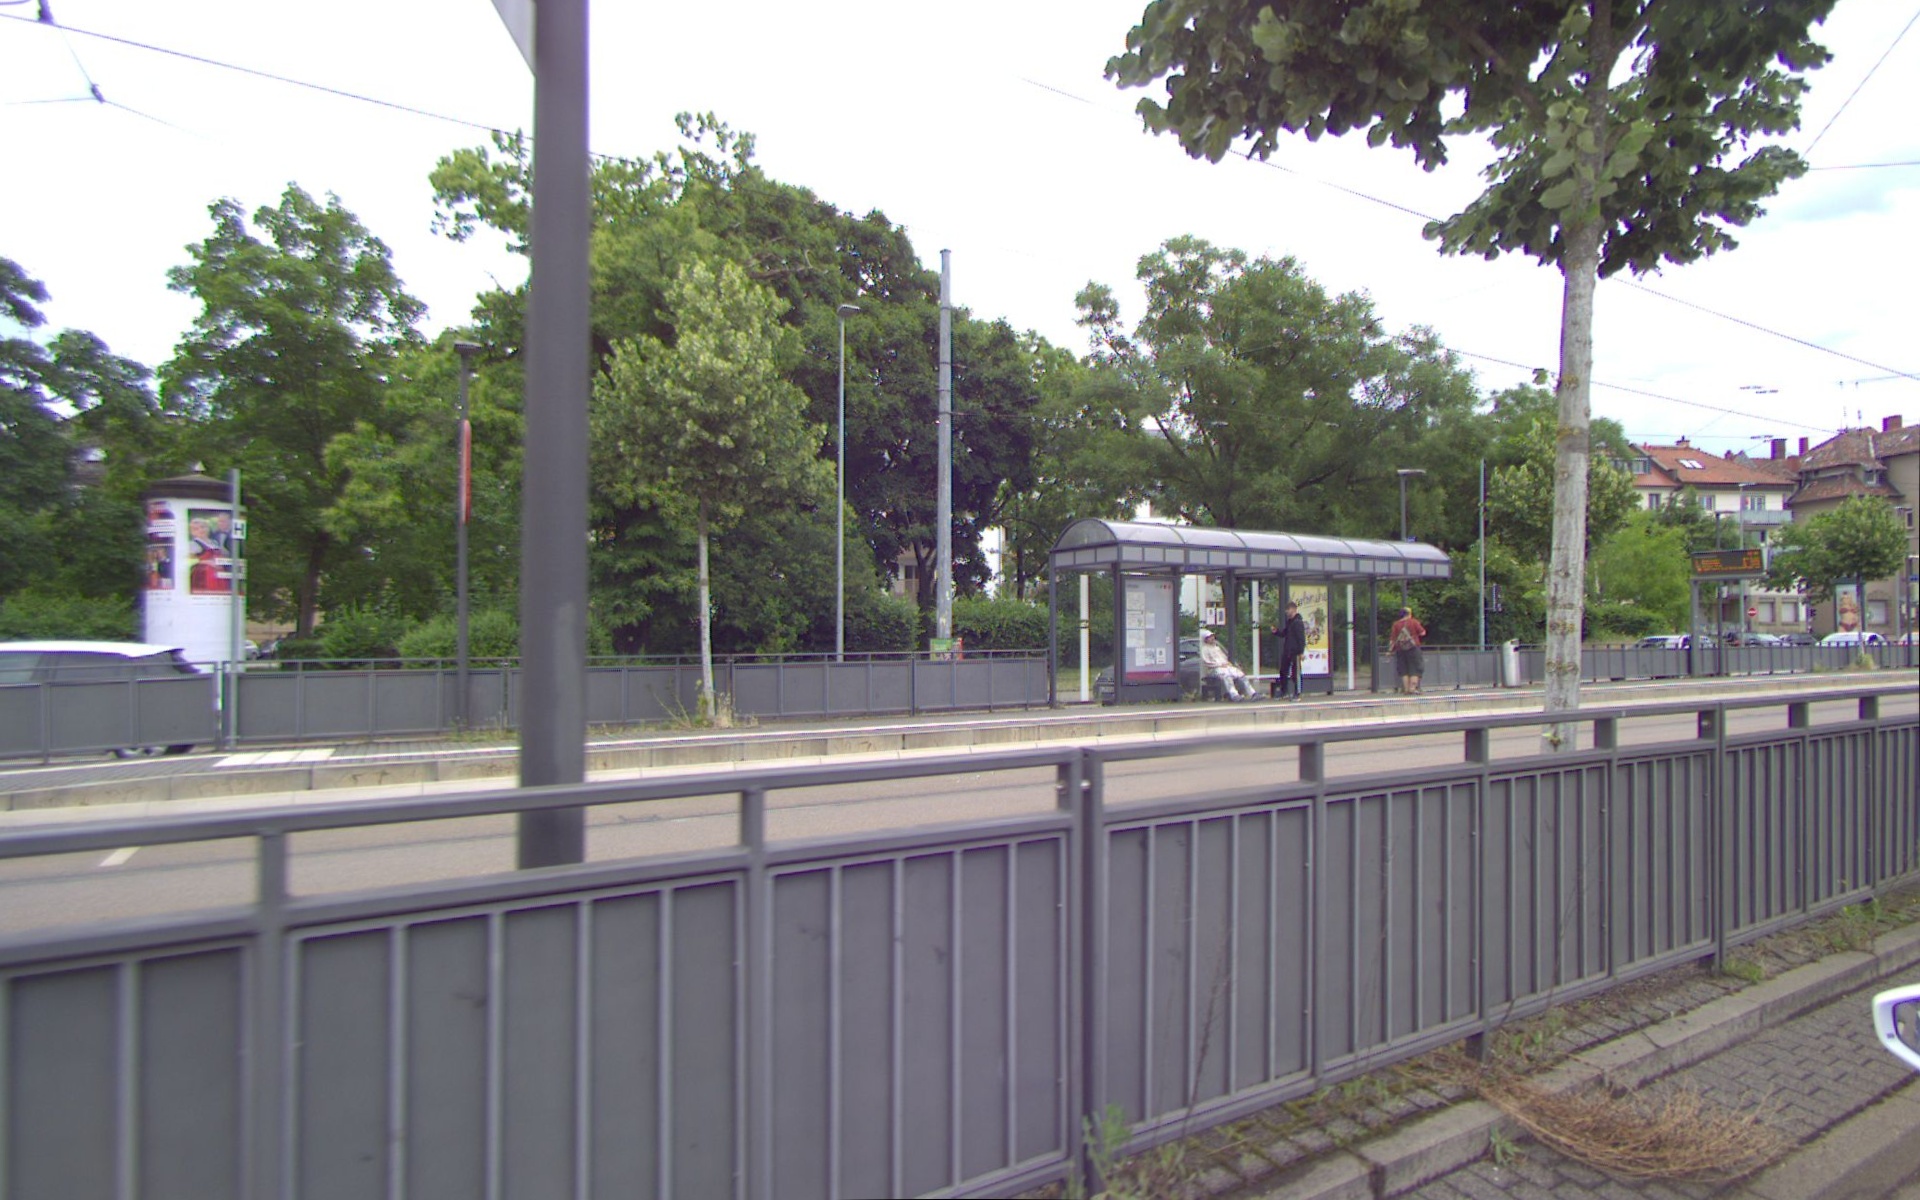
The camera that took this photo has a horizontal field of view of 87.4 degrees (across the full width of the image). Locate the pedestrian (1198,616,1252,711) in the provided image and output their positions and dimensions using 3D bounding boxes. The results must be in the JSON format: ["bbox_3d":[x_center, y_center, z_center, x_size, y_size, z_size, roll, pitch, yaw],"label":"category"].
[{"bbox_3d":[4.711,1.117,17.889,0.673,1.645,0.628,1,-2,-32],"label":"pedestrian"}]

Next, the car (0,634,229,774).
[{"bbox_3d":[-10.981,1.158,11.656,3.841,1.512,1.762,1,-2,-31],"label":"car"}]

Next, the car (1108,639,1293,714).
[{"bbox_3d":[5.327,1.617,22.146,3.841,1.512,1.762,1,-2,-31],"label":"car"}]

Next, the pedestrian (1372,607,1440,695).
[{"bbox_3d":[8.788,0.990,19.799,1.014,1.682,0.764,1,-2,-33],"label":"pedestrian"}]

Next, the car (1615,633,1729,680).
[{"bbox_3d":[24.192,1.895,34.103,3.841,1.512,1.762,1,-2,-31],"label":"car"}]

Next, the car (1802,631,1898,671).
[{"bbox_3d":[35.430,2.022,39.992,3.841,1.512,1.762,1,-2,-31],"label":"car"}]

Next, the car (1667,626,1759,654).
[{"bbox_3d":[43.156,2.292,57.641,1.755,1.512,3.857,1,-2,-30],"label":"car"}]

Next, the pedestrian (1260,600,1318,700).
[{"bbox_3d":[5.872,0.890,17.932,0.693,1.738,0.694,1,-2,-38],"label":"pedestrian"}]
